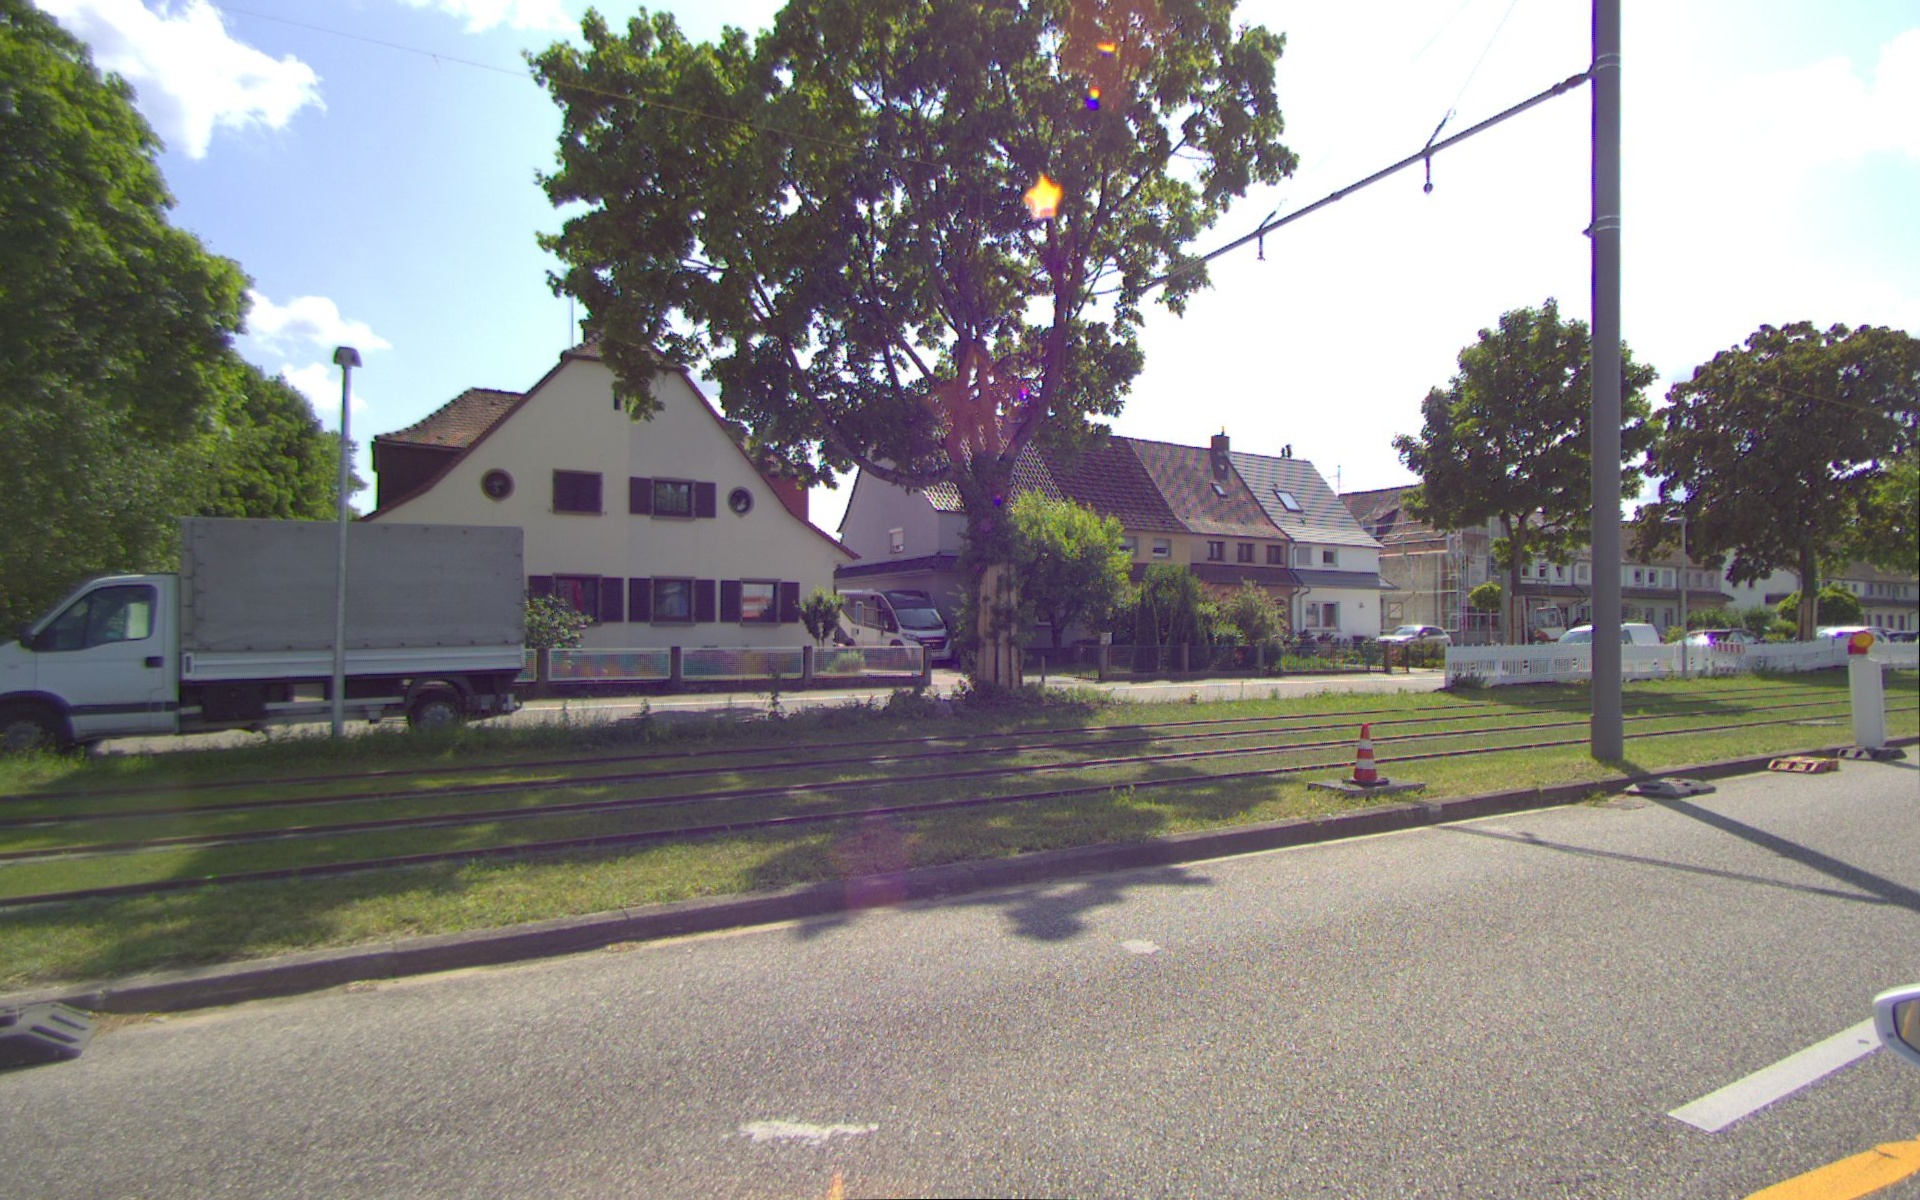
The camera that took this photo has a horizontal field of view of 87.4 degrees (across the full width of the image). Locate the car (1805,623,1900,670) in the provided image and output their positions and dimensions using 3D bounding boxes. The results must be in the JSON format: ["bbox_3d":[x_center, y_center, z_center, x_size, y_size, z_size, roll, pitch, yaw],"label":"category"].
[{"bbox_3d":[34.990,1.794,39.369,3.814,1.762,1.691,1,-2,-30],"label":"car"}]

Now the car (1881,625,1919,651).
[{"bbox_3d":[66.752,2.673,70.734,4.013,1.762,1.691,1,-2,-30],"label":"car"}]

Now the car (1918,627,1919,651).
[{"bbox_3d":[72.135,2.836,73.670,4.013,1.762,1.691,1,-2,-30],"label":"car"}]

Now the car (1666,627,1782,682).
[{"bbox_3d":[25.745,1.793,33.829,4.006,1.762,1.691,1,-2,-30],"label":"car"}]

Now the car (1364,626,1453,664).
[{"bbox_3d":[19.888,1.985,44.482,3.814,1.614,1.691,1,-2,-30],"label":"car"}]

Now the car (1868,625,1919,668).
[{"bbox_3d":[40.388,1.953,42.603,3.814,1.762,1.691,1,-2,-30],"label":"car"}]

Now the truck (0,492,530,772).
[{"bbox_3d":[-8.798,0.408,12.936,5.805,3.027,1.994,1,-2,-30],"label":"truck"}]

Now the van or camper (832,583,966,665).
[{"bbox_3d":[-2.351,0.899,36.653,2.224,2.745,5.963,1,-2,-33],"label":"van or camper"}]

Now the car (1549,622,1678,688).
[{"bbox_3d":[19.501,1.598,29.962,3.814,1.841,1.691,1,-2,-30],"label":"car"}]
